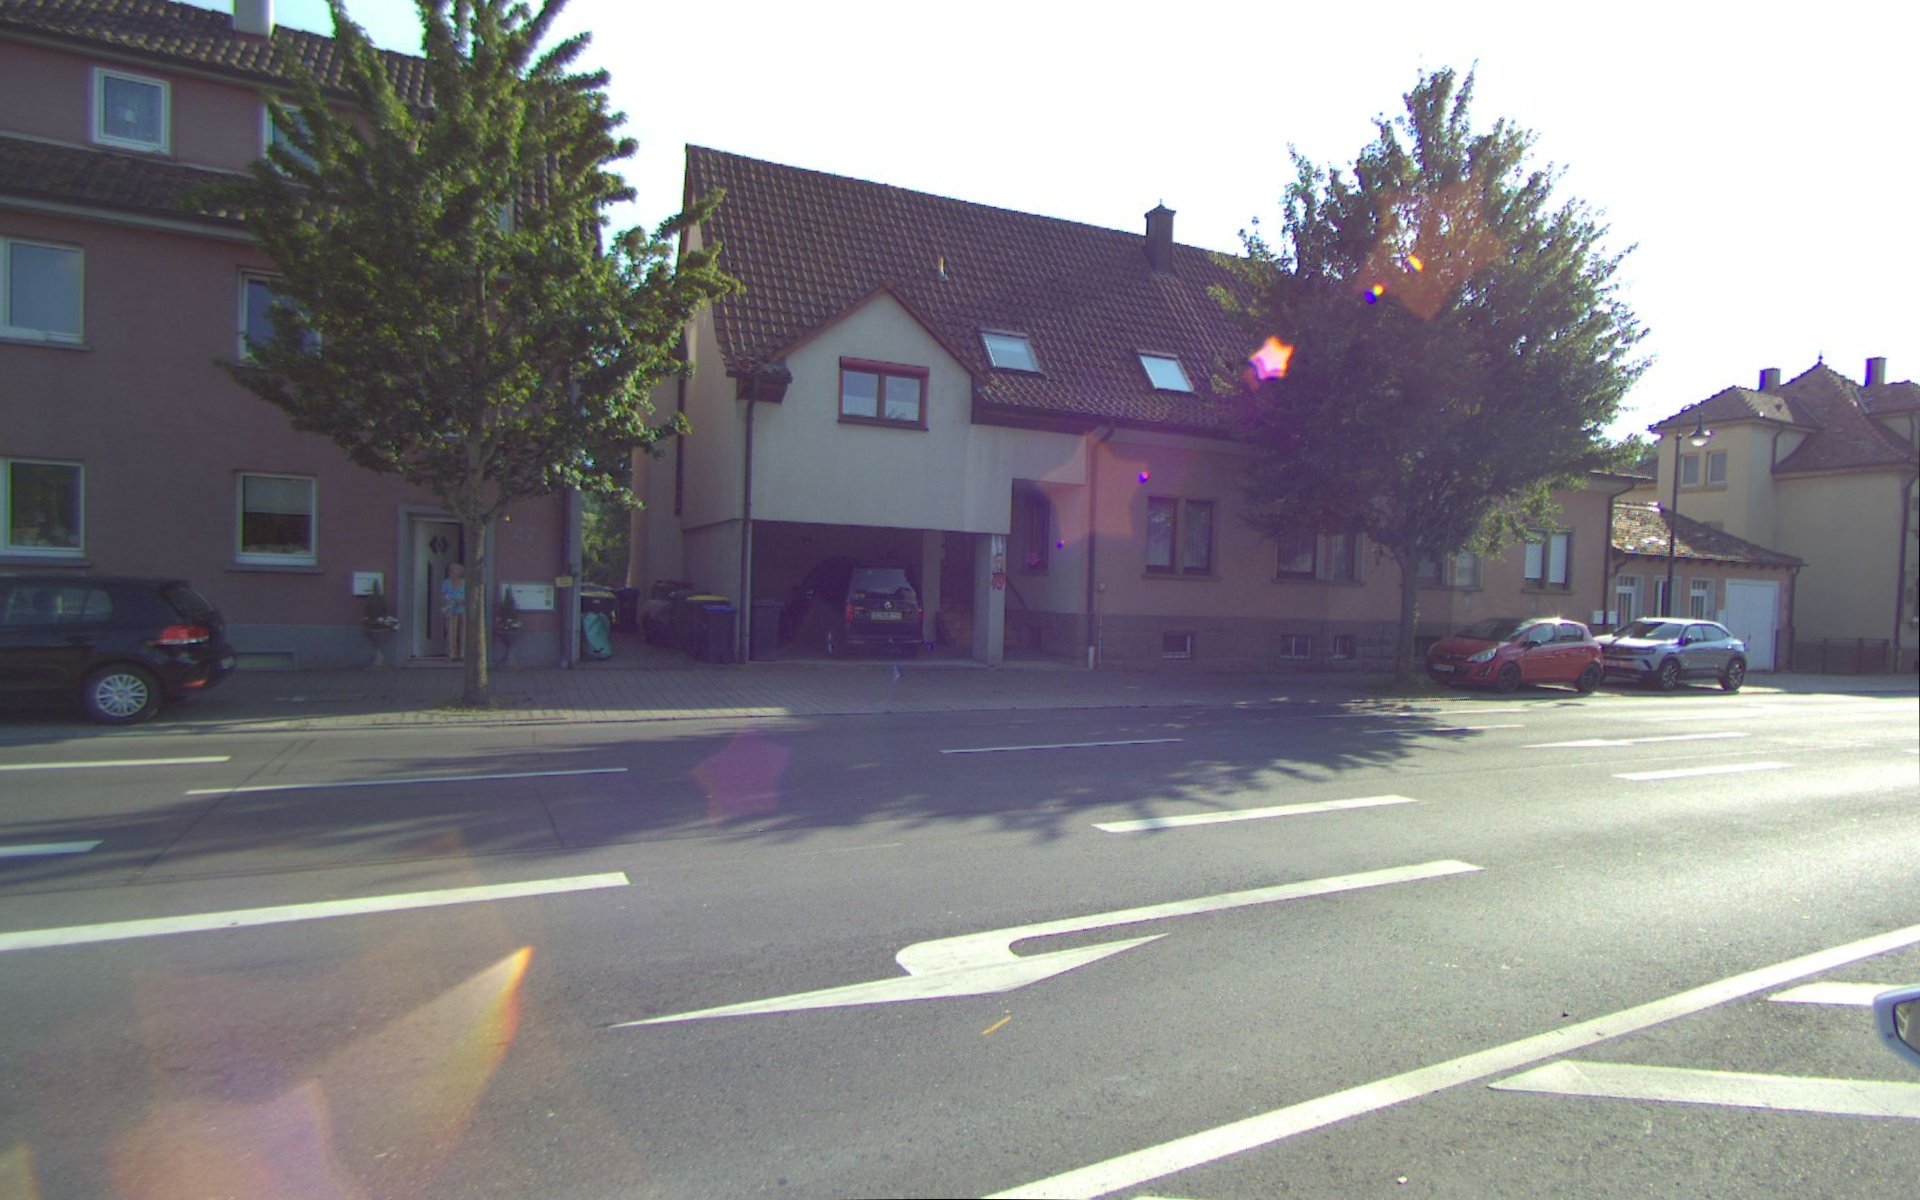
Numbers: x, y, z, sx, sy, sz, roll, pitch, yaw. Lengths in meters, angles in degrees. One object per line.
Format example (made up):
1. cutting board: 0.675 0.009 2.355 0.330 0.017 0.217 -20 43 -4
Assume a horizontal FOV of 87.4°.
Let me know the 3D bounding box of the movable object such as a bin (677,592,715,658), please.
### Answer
1. movable object such as a bin: -4.710 0.435 17.901 0.534 1.152 0.507 1 1 -29

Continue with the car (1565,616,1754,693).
1. car: 15.963 1.196 22.927 3.946 1.499 1.750 1 3 -25

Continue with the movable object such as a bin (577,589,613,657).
1. movable object such as a bin: -6.376 0.392 17.544 0.539 1.158 0.502 1 1 -26

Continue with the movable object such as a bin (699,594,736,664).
1. movable object such as a bin: -4.072 0.485 16.844 0.494 1.152 0.473 1 1 -29

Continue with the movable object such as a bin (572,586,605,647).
1. movable object such as a bin: -7.081 0.309 19.144 0.539 1.158 0.502 1 1 -26

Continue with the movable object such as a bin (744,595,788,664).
1. movable object such as a bin: -3.366 0.507 17.424 0.570 1.158 0.562 1 1 -34

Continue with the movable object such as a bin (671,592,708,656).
1. movable object such as a bin: -4.955 0.428 18.400 0.534 1.152 0.507 1 1 -29

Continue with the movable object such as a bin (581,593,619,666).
1. movable object such as a bin: -5.917 0.476 16.485 0.523 1.158 0.549 1 1 -26

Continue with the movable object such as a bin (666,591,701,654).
1. movable object such as a bin: -5.195 0.421 18.855 0.534 1.152 0.507 1 1 -29

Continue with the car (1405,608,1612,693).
1. car: 11.383 1.029 20.850 3.945 1.507 1.661 2 3 -24

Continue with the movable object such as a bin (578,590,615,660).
1. movable object such as a bin: -6.143 0.417 16.983 0.523 1.158 0.502 1 1 -26

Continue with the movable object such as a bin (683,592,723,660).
1. movable object such as a bin: -4.427 0.444 17.292 0.534 1.152 0.507 1 1 -29

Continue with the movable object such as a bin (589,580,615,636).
1. movable object such as a bin: -7.499 0.168 21.028 0.439 1.158 0.399 1 1 -29

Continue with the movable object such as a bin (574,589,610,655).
1. movable object such as a bin: -6.611 0.388 18.033 0.539 1.158 0.502 1 1 -26

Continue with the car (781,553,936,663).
1. car: -2.109 0.092 19.768 1.756 1.906 3.807 2 2 -26

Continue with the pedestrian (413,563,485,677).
1. pedestrian: -7.562 0.292 14.886 0.765 1.628 0.721 1 0 -13

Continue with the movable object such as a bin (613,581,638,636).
1. movable object such as a bin: -7.075 0.175 21.236 0.439 1.158 0.399 1 1 -29

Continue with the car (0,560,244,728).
1. car: -9.805 0.395 10.202 3.850 1.553 1.660 1 3 -26

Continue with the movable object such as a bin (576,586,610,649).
1. movable object such as a bin: -6.823 0.317 18.656 0.539 1.158 0.502 1 1 -26
